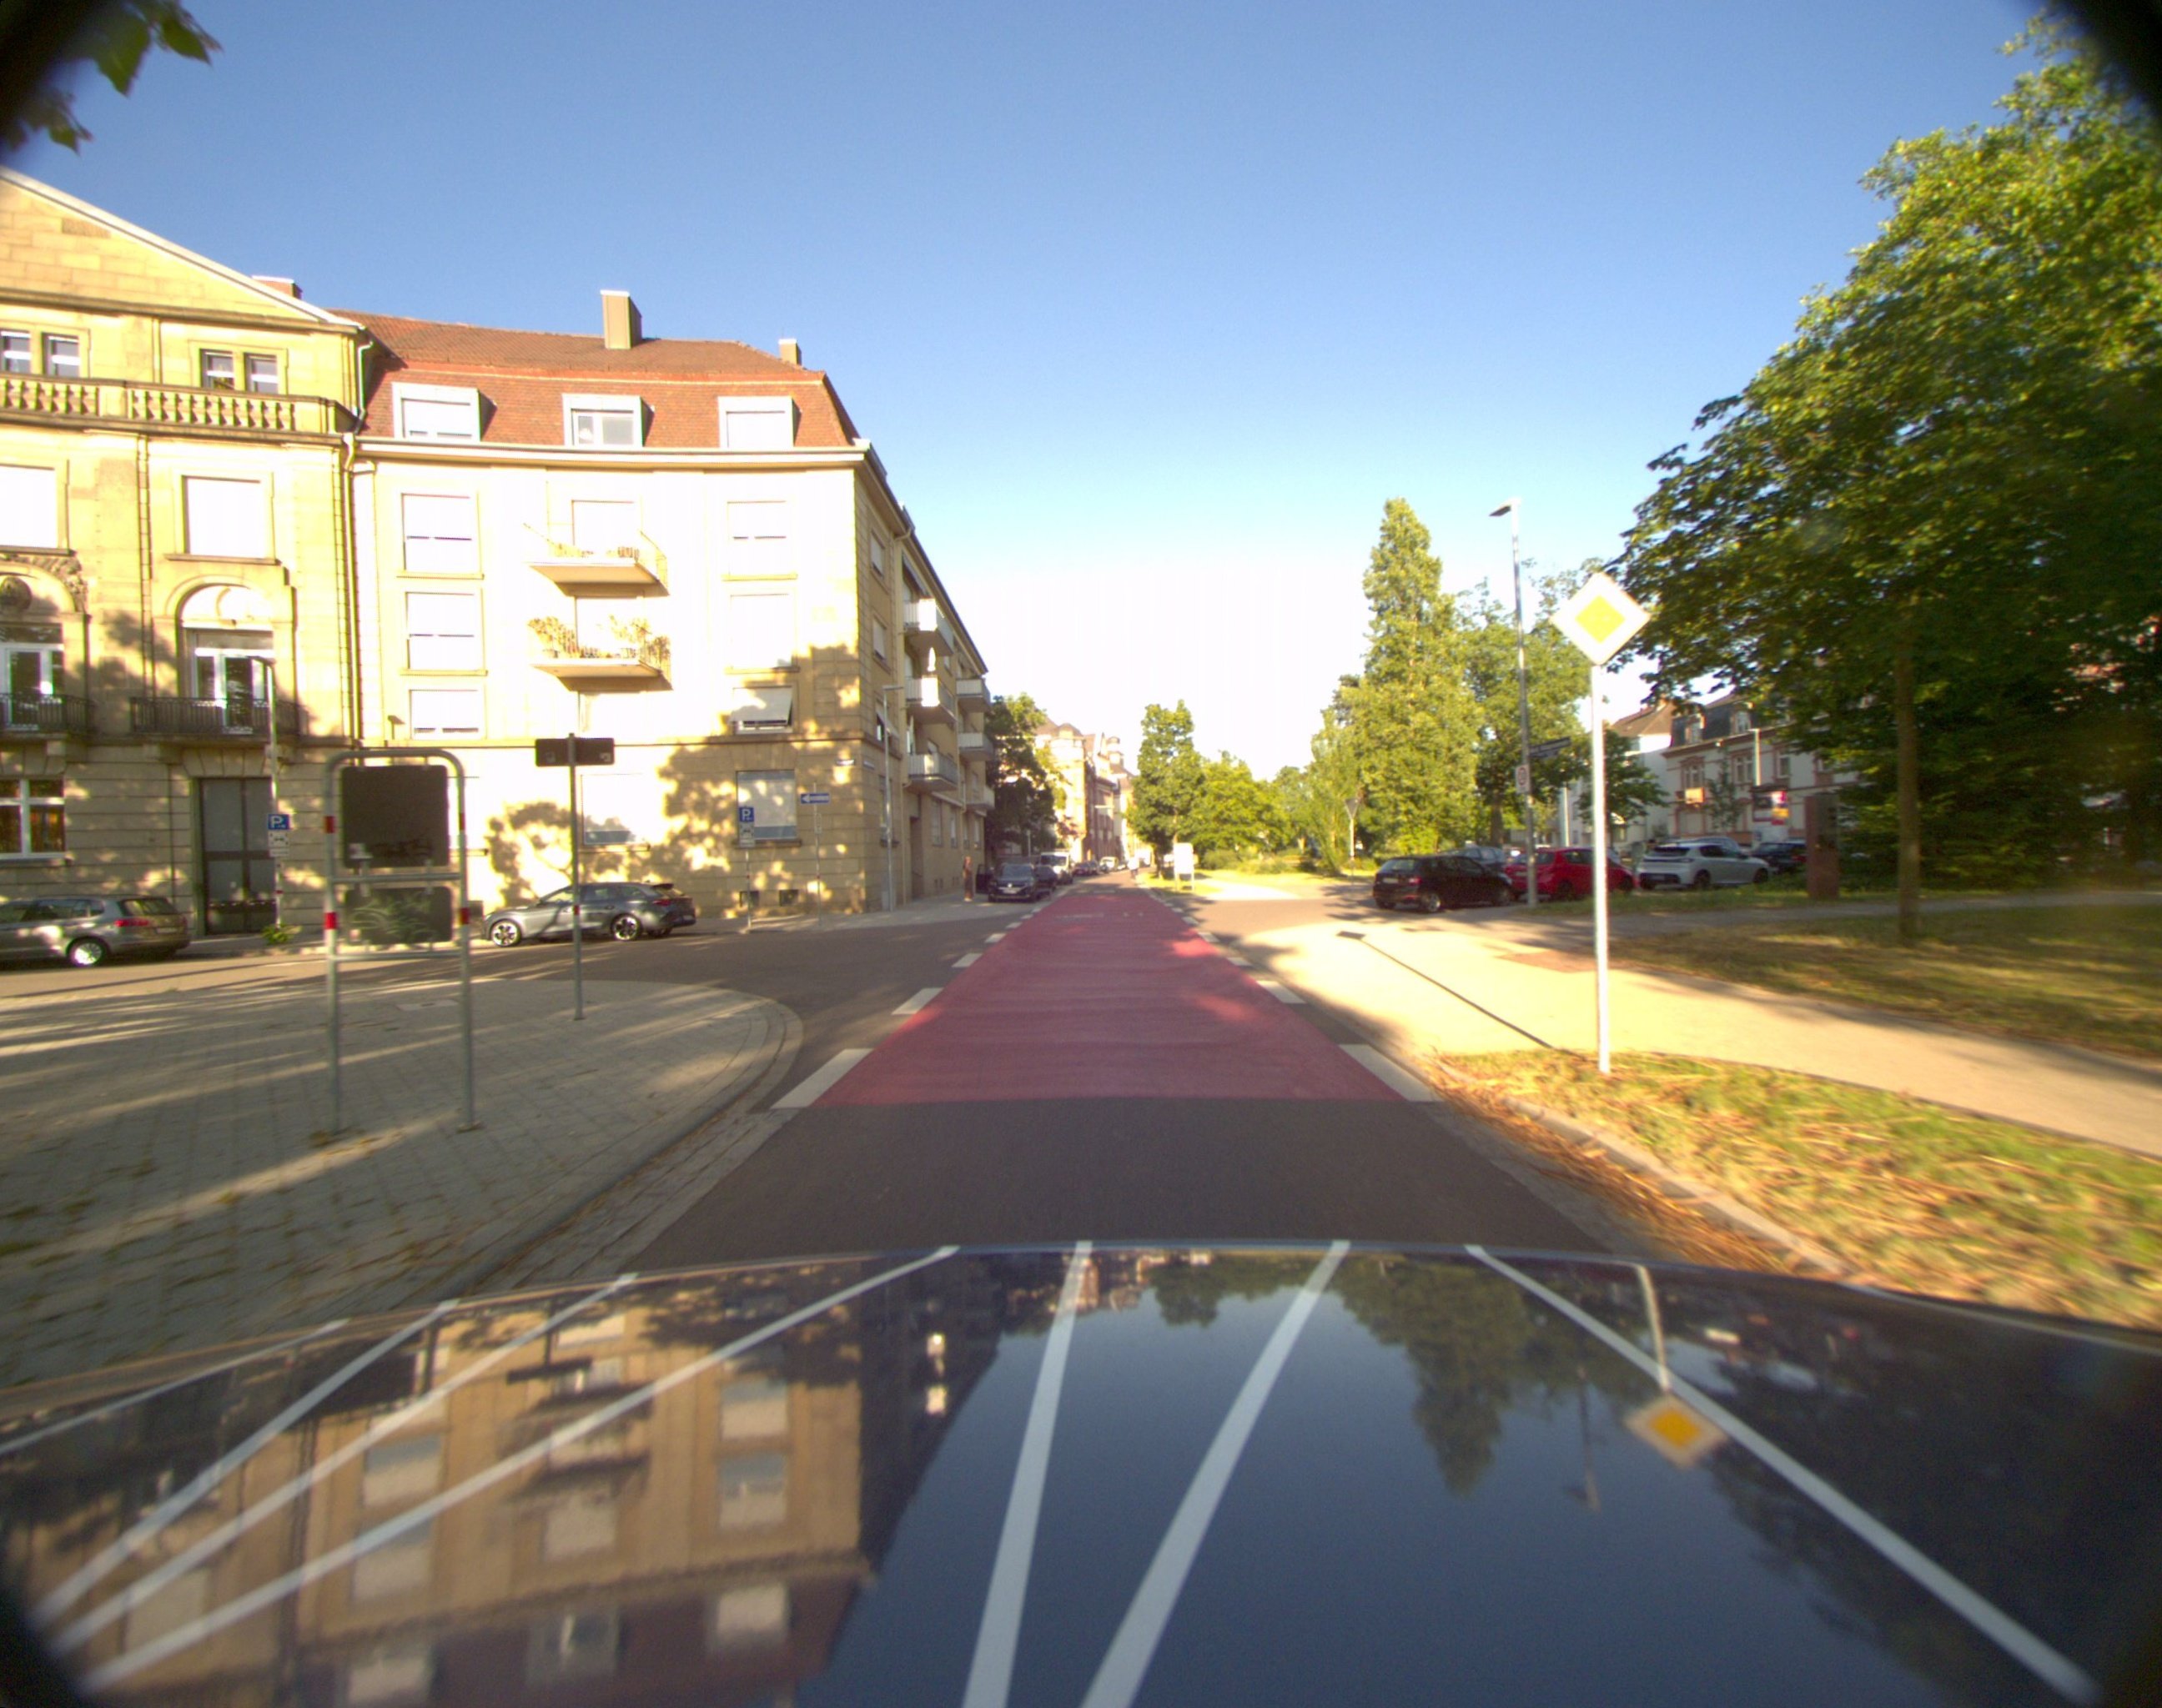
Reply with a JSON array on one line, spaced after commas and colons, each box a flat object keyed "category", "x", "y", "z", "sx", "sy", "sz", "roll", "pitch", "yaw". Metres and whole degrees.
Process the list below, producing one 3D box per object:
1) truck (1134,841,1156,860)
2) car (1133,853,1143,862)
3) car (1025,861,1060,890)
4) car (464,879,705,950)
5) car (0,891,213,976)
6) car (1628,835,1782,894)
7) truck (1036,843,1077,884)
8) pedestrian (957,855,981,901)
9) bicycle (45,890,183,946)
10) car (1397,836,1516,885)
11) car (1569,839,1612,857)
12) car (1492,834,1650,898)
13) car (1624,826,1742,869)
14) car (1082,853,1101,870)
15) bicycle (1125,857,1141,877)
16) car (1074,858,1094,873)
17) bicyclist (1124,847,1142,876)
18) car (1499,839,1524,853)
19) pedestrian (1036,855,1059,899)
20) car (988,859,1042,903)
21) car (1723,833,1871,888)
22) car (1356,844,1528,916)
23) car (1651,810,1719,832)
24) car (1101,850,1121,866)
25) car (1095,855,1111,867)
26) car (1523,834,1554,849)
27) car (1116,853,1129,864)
[{"category": "truck", "x": 11.789, "y": -0.700, "z": 140.024, "sx": 3.018, "sy": 3.423, "sz": 7.629, "roll": -1, "pitch": 1, "yaw": 13}, {"category": "car", "x": 9.800, "y": 0.541, "z": 130.526, "sx": 1.582, "sy": 1.499, "sz": 3.849, "roll": -1, "pitch": 1, "yaw": 8}, {"category": "car", "x": -2.043, "y": 1.141, "z": 41.128, "sx": 1.707, "sy": 1.412, "sz": 4.035, "roll": 0, "pitch": 1, "yaw": -1}, {"category": "car", "x": -11.832, "y": 1.405, "z": 18.400, "sx": 4.452, "sy": 1.411, "sz": 1.935, "roll": -2, "pitch": 1, "yaw": -4}, {"category": "car", "x": -22.769, "y": 1.749, "z": 16.743, "sx": 4.456, "sy": 1.590, "sz": 1.800, "roll": -2, "pitch": 1, "yaw": -17}, {"category": "car", "x": 19.216, "y": 0.268, "z": 23.439, "sx": 4.003, "sy": 1.565, "sz": 1.887, "roll": -3, "pitch": 2, "yaw": -20}, {"category": "truck", "x": -1.588, "y": 0.573, "z": 52.218, "sx": 2.133, "sy": 2.549, "sz": 6.877, "roll": -2, "pitch": 1, "yaw": 3}, {"category": "pedestrian", "x": -4.570, "y": 0.968, "z": 30.995, "sx": 0.733, "sy": 1.819, "sz": 0.555, "roll": -3, "pitch": 1, "yaw": -35}, {"category": "bicycle", "x": -25.335, "y": 1.653, "z": 19.958, "sx": 2.259, "sy": 1.303, "sz": 0.613, "roll": -2, "pitch": 1, "yaw": -17}, {"category": "car", "x": 13.726, "y": 0.196, "z": 27.785, "sx": 3.851, "sy": 1.622, "sz": 1.836, "roll": -2, "pitch": 1, "yaw": -23}, {"category": "car", "x": 49.521, "y": -0.598, "z": 74.001, "sx": 1.888, "sy": 1.565, "sz": 4.601, "roll": -1, "pitch": 2, "yaw": 12}, {"category": "car", "x": 13.894, "y": 0.278, "z": 21.545, "sx": 4.004, "sy": 1.565, "sz": 1.887, "roll": -3, "pitch": 2, "yaw": -24}, {"category": "car", "x": 25.269, "y": -0.277, "z": 31.918, "sx": 4.280, "sy": 1.634, "sz": 1.837, "roll": -2, "pitch": 1, "yaw": -18}, {"category": "car", "x": 1.178, "y": 0.778, "z": 81.074, "sx": 1.610, "sy": 1.608, "sz": 3.952, "roll": -1, "pitch": 1, "yaw": 7}, {"category": "bicycle", "x": 3.095, "y": 0.742, "z": 45.086, "sx": 0.739, "sy": 1.129, "sz": 2.105, "roll": -2, "pitch": 0, "yaw": 7}, {"category": "car", "x": 0.322, "y": 1.157, "z": 75.620, "sx": 1.610, "sy": 1.349, "sz": 3.549, "roll": -1, "pitch": 1, "yaw": 7}, {"category": "bicyclist", "x": 3.075, "y": 0.453, "z": 45.075, "sx": 0.939, "sy": 1.693, "sz": 0.906, "roll": -2, "pitch": 1, "yaw": 7}, {"category": "car", "x": 55.661, "y": -1.083, "z": 98.274, "sx": 1.887, "sy": 1.565, "sz": 4.603, "roll": -1, "pitch": 2, "yaw": 18}, {"category": "pedestrian", "x": -1.380, "y": 0.950, "z": 31.311, "sx": 0.778, "sy": 1.759, "sz": 0.955, "roll": -3, "pitch": 0, "yaw": 2}, {"category": "car", "x": -2.567, "y": 1.021, "z": 30.335, "sx": 1.707, "sy": 1.616, "sz": 4.349, "roll": 0, "pitch": -1, "yaw": 1}, {"category": "car", "x": 23.541, "y": 0.161, "z": 25.008, "sx": 4.003, "sy": 1.565, "sz": 1.887, "roll": -2, "pitch": 2, "yaw": -19}, {"category": "car", "x": 9.464, "y": 0.600, "z": 19.926, "sx": 4.004, "sy": 1.565, "sz": 1.887, "roll": -3, "pitch": 2, "yaw": -24}, {"category": "car", "x": 46.686, "y": -2.546, "z": 58.881, "sx": 1.889, "sy": 1.565, "sz": 4.599, "roll": -2, "pitch": 2, "yaw": 4}, {"category": "car", "x": 4.137, "y": 0.530, "z": 103.768, "sx": 2.118, "sy": 1.942, "sz": 4.763, "roll": -1, "pitch": 1, "yaw": 8}, {"category": "car", "x": 2.661, "y": 0.830, "z": 91.358, "sx": 1.509, "sy": 1.437, "sz": 3.731, "roll": -1, "pitch": 1, "yaw": 7}, {"category": "car", "x": 53.012, "y": -1.475, "z": 88.132, "sx": 1.887, "sy": 1.565, "sz": 4.603, "roll": -1, "pitch": 2, "yaw": 16}, {"category": "car", "x": 6.158, "y": 0.664, "z": 112.814, "sx": 1.582, "sy": 1.499, "sz": 3.848, "roll": -1, "pitch": 1, "yaw": 8}]
